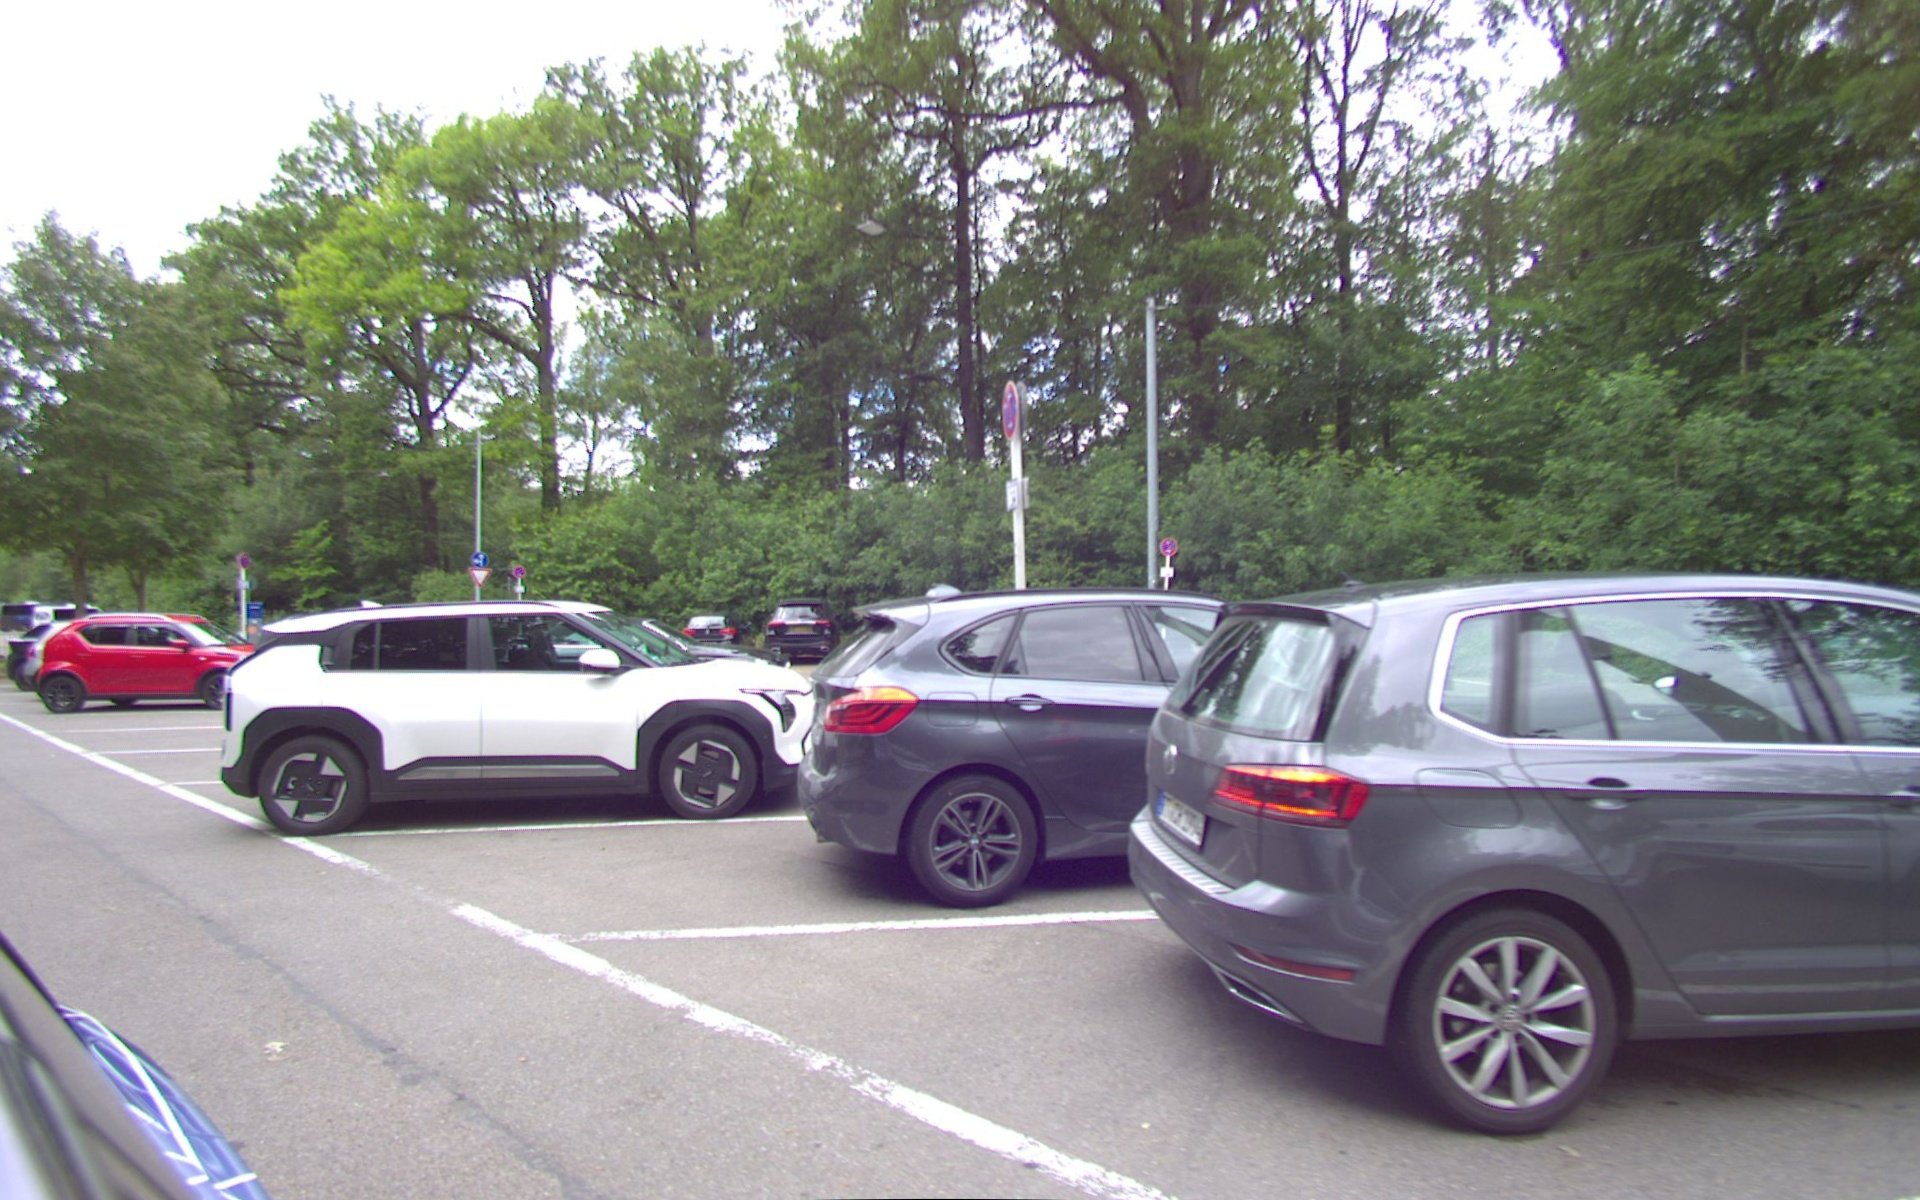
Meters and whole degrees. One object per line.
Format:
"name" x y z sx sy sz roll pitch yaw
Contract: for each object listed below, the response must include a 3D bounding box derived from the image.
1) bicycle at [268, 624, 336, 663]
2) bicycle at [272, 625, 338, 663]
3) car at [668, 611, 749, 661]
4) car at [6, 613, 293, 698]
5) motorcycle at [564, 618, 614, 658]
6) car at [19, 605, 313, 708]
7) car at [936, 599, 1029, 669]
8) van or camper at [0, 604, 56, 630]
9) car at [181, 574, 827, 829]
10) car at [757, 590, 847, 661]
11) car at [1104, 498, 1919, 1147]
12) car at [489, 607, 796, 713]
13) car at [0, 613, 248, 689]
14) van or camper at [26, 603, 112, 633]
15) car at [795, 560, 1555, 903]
"bicycle" -19.829 1.306 30.504 1.660 1.120 0.506 0 -1 -44
"bicycle" -20.273 1.359 31.327 1.671 1.120 0.483 0 -1 -42
"car" -7.527 1.026 30.640 1.714 1.386 4.004 -1 0 -4
"car" -15.481 1.019 19.530 3.937 1.495 1.880 -1 -1 -7
"motorcycle" -12.044 1.217 32.955 0.722 1.217 2.026 -1 0 6
"car" -13.348 0.910 17.208 3.597 1.597 1.689 -1 -1 -7
"car" 0.450 0.775 24.310 1.842 1.522 4.003 -1 -1 -4
"van or camper" -106.717 1.914 114.361 2.176 2.871 7.328 -1 0 5
"car" -3.109 0.665 7.703 4.124 1.609 1.849 -1 -1 -7
"car" -4.295 0.692 28.234 2.080 1.780 4.713 -1 -1 -4
"car" 2.675 0.545 3.607 3.917 1.599 1.849 -1 -1 -5
"car" -4.700 0.867 15.559 4.248 1.453 1.872 -1 -1 -7
"car" -18.162 1.067 22.009 4.041 1.534 1.831 -1 -1 -2
"van or camper" -87.774 1.743 99.897 2.040 2.871 7.339 -1 0 0
"car" 1.062 0.612 5.987 3.934 1.566 1.877 -1 -1 -11
